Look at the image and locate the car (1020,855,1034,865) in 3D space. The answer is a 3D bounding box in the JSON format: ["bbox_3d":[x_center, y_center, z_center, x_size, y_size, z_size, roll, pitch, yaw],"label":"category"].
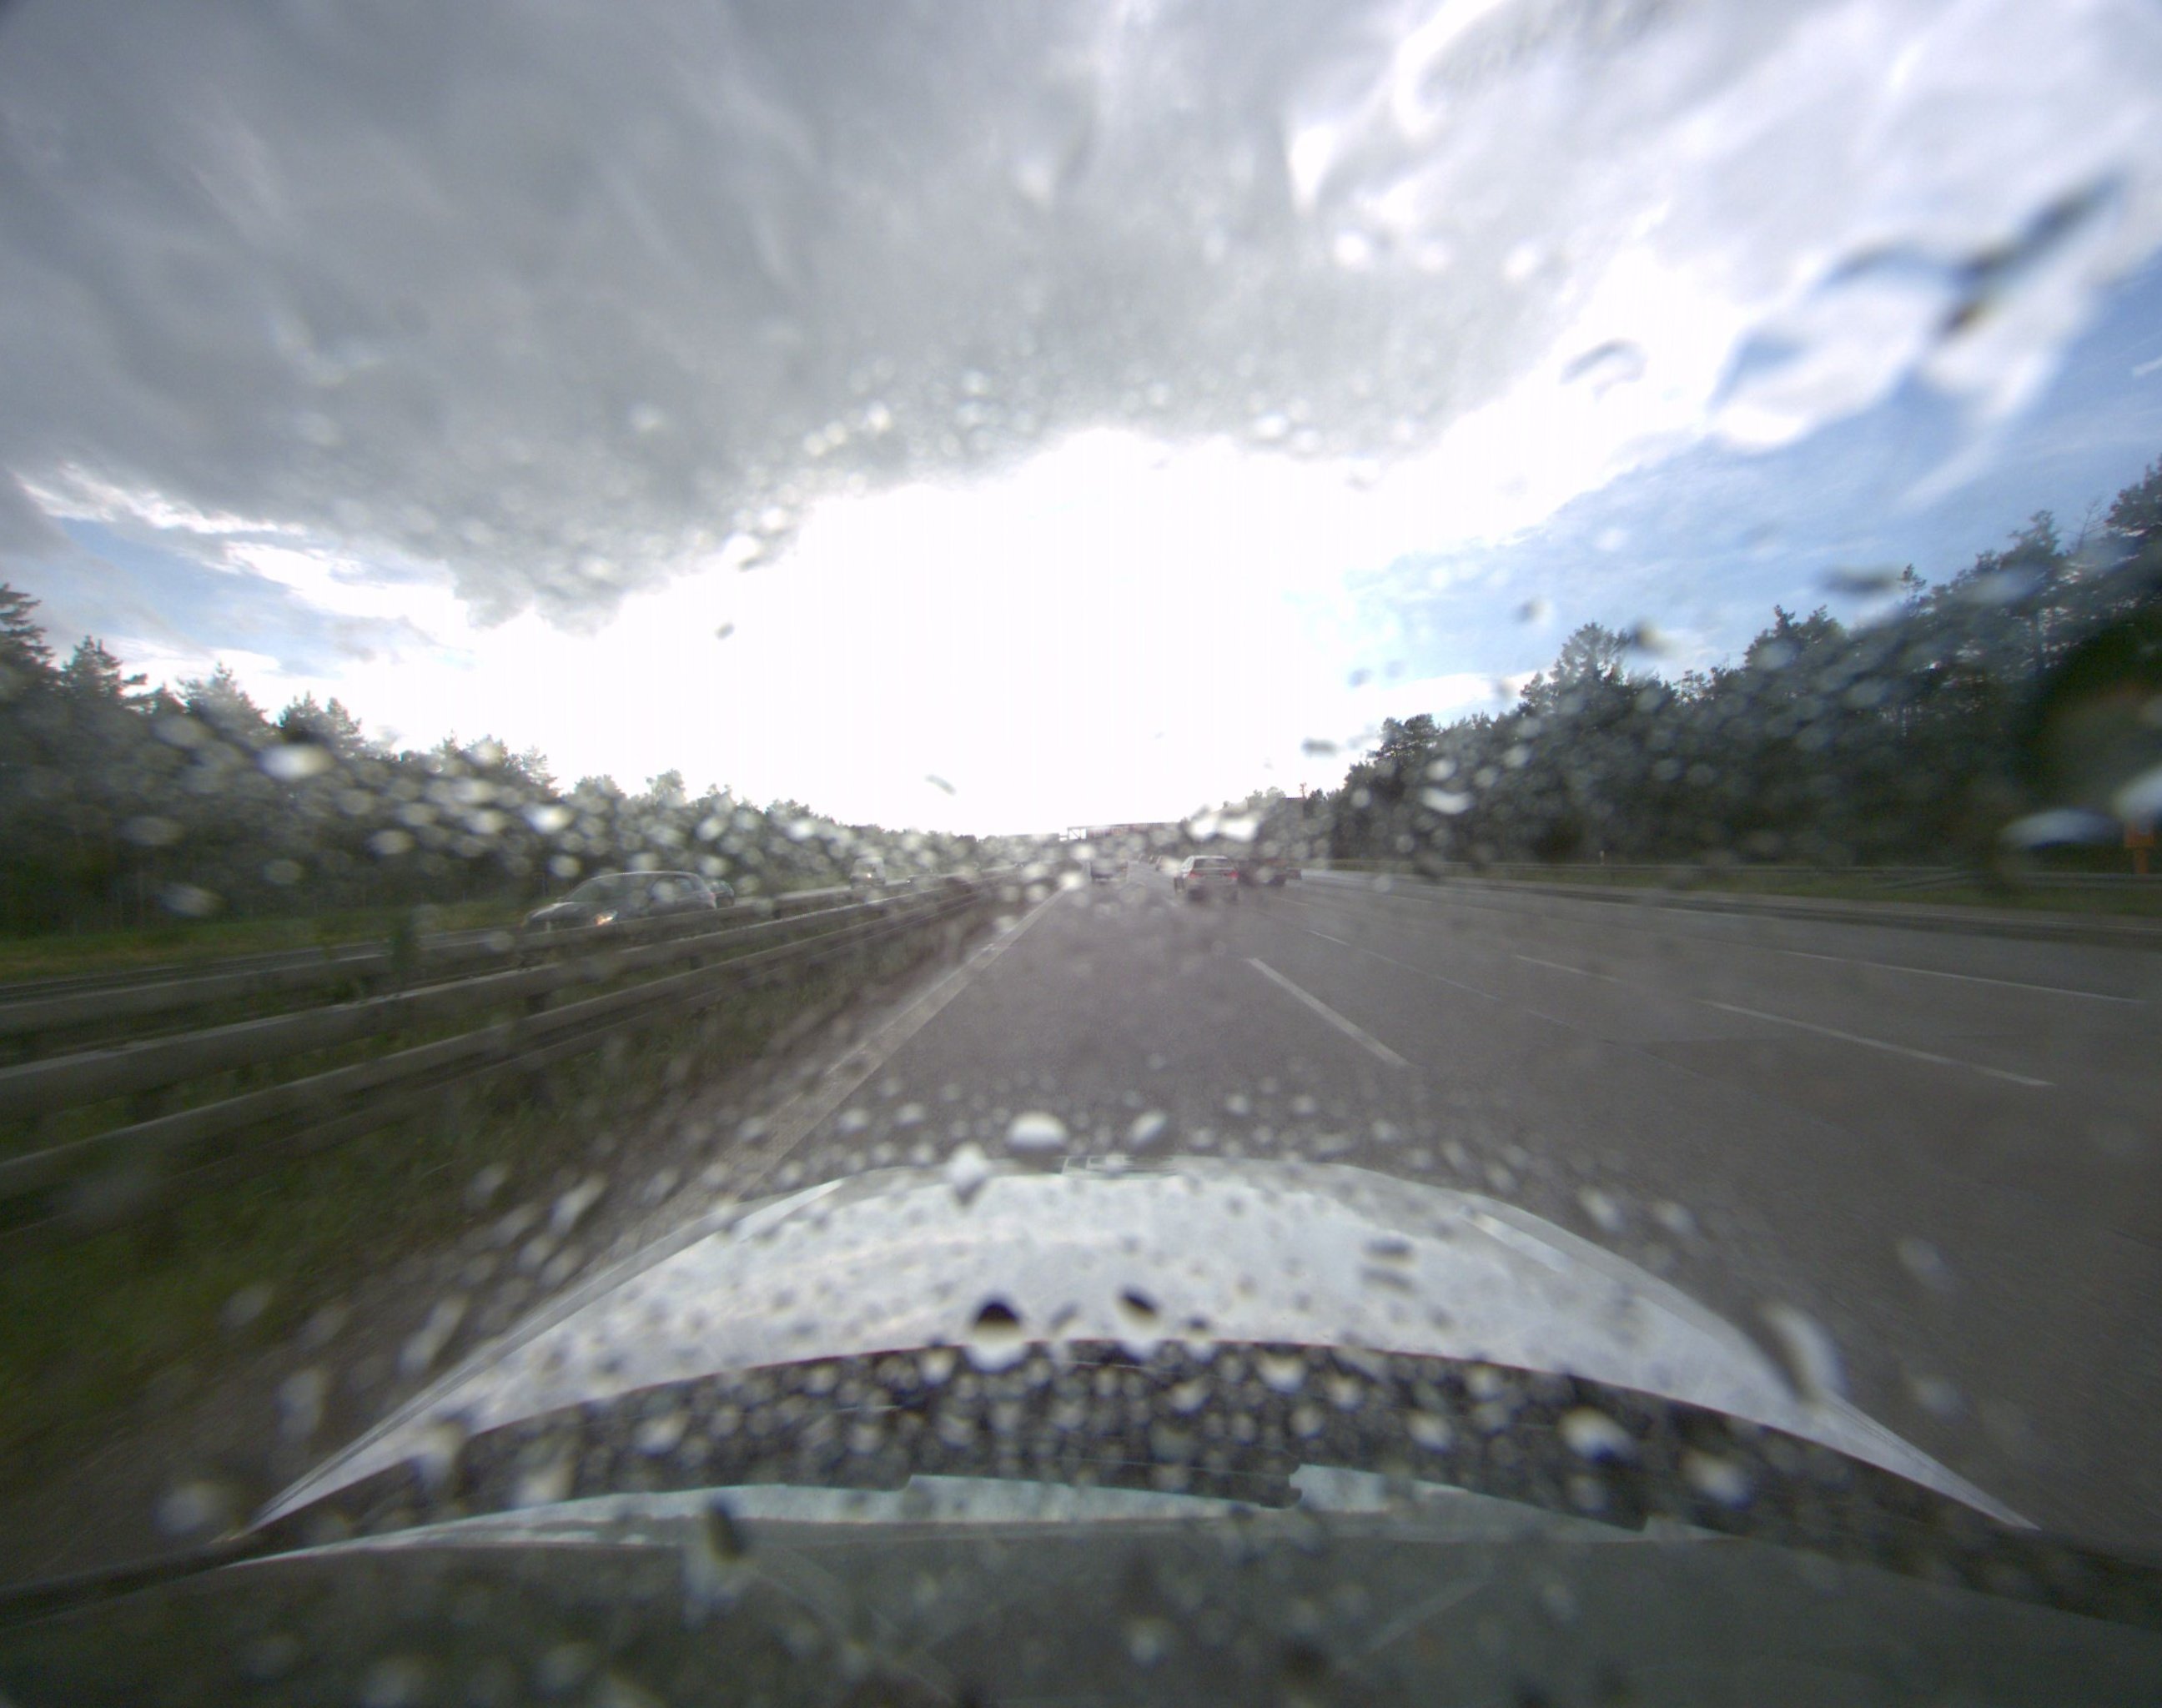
[{"bbox_3d":[-8.300,0.977,126.488,1.869,1.431,3.999,-2,0,0],"label":"car"}]

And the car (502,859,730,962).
[{"bbox_3d":[-8.328,0.924,15.077,1.764,1.539,4.002,-2,0,2],"label":"car"}]

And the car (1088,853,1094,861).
[{"bbox_3d":[2.526,0.759,212.893,1.612,2.013,3.999,0,0,0],"label":"car"}]

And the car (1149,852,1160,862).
[{"bbox_3d":[13.968,0.572,154.334,1.985,2.013,4.004,0,0,3],"label":"car"}]

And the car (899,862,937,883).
[{"bbox_3d":[-11.996,1.365,60.123,1.691,1.325,4.669,-3,0,1],"label":"car"}]

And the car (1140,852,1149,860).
[{"bbox_3d":[13.753,0.386,176.544,1.735,1.688,4.000,-1,0,0],"label":"car"}]

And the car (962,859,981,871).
[{"bbox_3d":[-14.261,1.427,106.374,1.869,1.472,3.999,-3,0,0],"label":"car"}]

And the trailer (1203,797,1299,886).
[{"bbox_3d":[8.722,-0.577,43.615,2.316,4.001,13.411,-1,0,0],"label":"trailer"}]

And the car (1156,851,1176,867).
[{"bbox_3d":[8.416,0.479,80.661,1.822,1.466,4.005,-1,0,4],"label":"car"}]

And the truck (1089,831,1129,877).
[{"bbox_3d":[1.661,0.005,47.141,2.129,2.489,5.316,-1,0,3],"label":"truck"}]

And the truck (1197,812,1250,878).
[{"bbox_3d":[8.739,-0.529,50.424,2.286,3.868,5.391,-1,0,0],"label":"truck"}]

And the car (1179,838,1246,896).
[{"bbox_3d":[4.566,0.418,28.936,2.067,1.885,5.020,-1,0,6],"label":"car"}]

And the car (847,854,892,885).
[{"bbox_3d":[-18.998,1.321,73.568,2.090,2.510,6.586,-3,0,1],"label":"car"}]
